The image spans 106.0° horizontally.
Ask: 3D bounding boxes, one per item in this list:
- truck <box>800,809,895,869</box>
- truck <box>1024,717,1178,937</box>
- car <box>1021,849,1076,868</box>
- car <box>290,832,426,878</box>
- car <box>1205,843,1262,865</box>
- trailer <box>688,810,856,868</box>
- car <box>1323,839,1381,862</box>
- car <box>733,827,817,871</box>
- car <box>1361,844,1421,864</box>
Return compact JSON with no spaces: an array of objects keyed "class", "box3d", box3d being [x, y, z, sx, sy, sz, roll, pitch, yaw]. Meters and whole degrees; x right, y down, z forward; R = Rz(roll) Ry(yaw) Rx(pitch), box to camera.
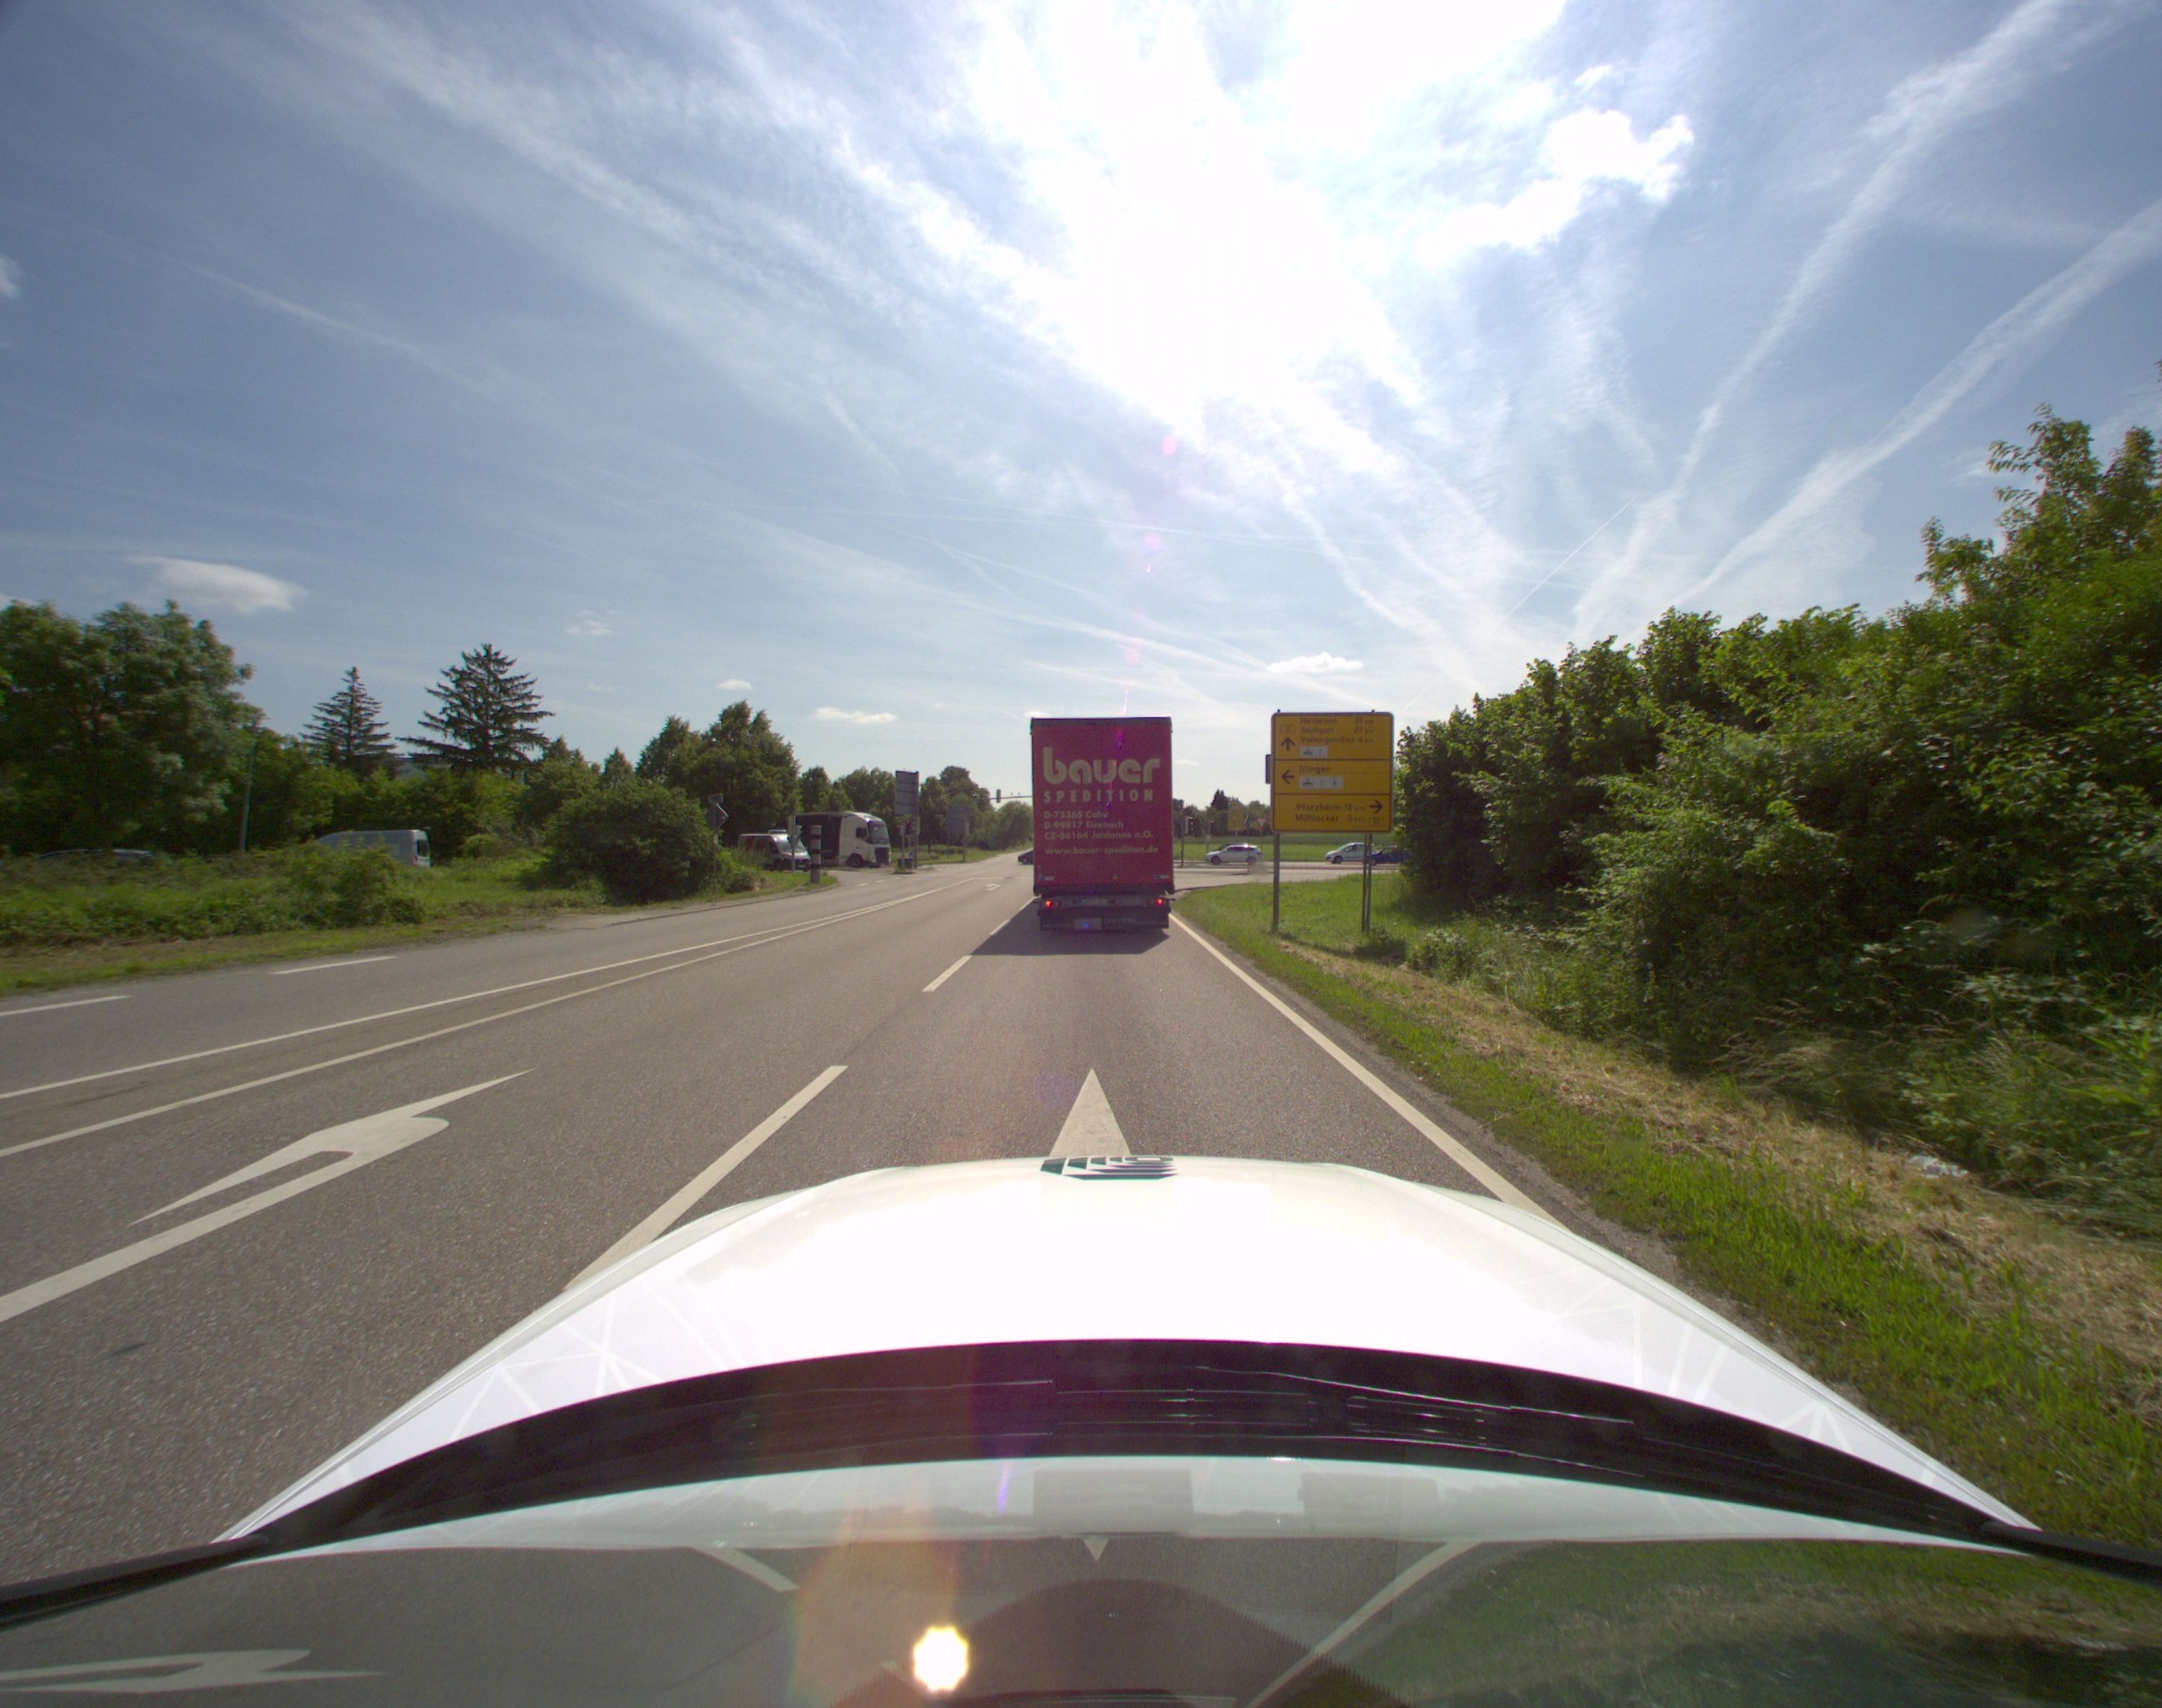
[{"class":"truck","box3d":[-16.477,-1.034,57.525,5.778,4.061,2.812,0,1,19]},{"class":"truck","box3d":[0.424,-0.579,22.955,2.725,3.925,16.625,-1,1,0]},{"class":"car","box3d":[-2.559,0.357,64.323,3.959,1.429,2.007,0,0,14]},{"class":"car","box3d":[-35.860,0.041,40.572,4.602,2.180,1.985,0,0,-23]},{"class":"car","box3d":[11.468,0.016,61.238,4.071,1.547,1.880,0,-1,13]},{"class":"trailer","box3d":[-23.017,-1.090,60.325,13.561,4.061,2.814,0,1,24]},{"class":"car","box3d":[20.631,-0.262,62.100,3.811,1.633,1.762,-1,-1,3]},{"class":"car","box3d":[-19.461,-0.371,51.691,5.909,2.654,2.138,1,2,37]},{"class":"car","box3d":[22.076,0.002,58.168,3.821,1.357,1.682,0,0,13]}]
